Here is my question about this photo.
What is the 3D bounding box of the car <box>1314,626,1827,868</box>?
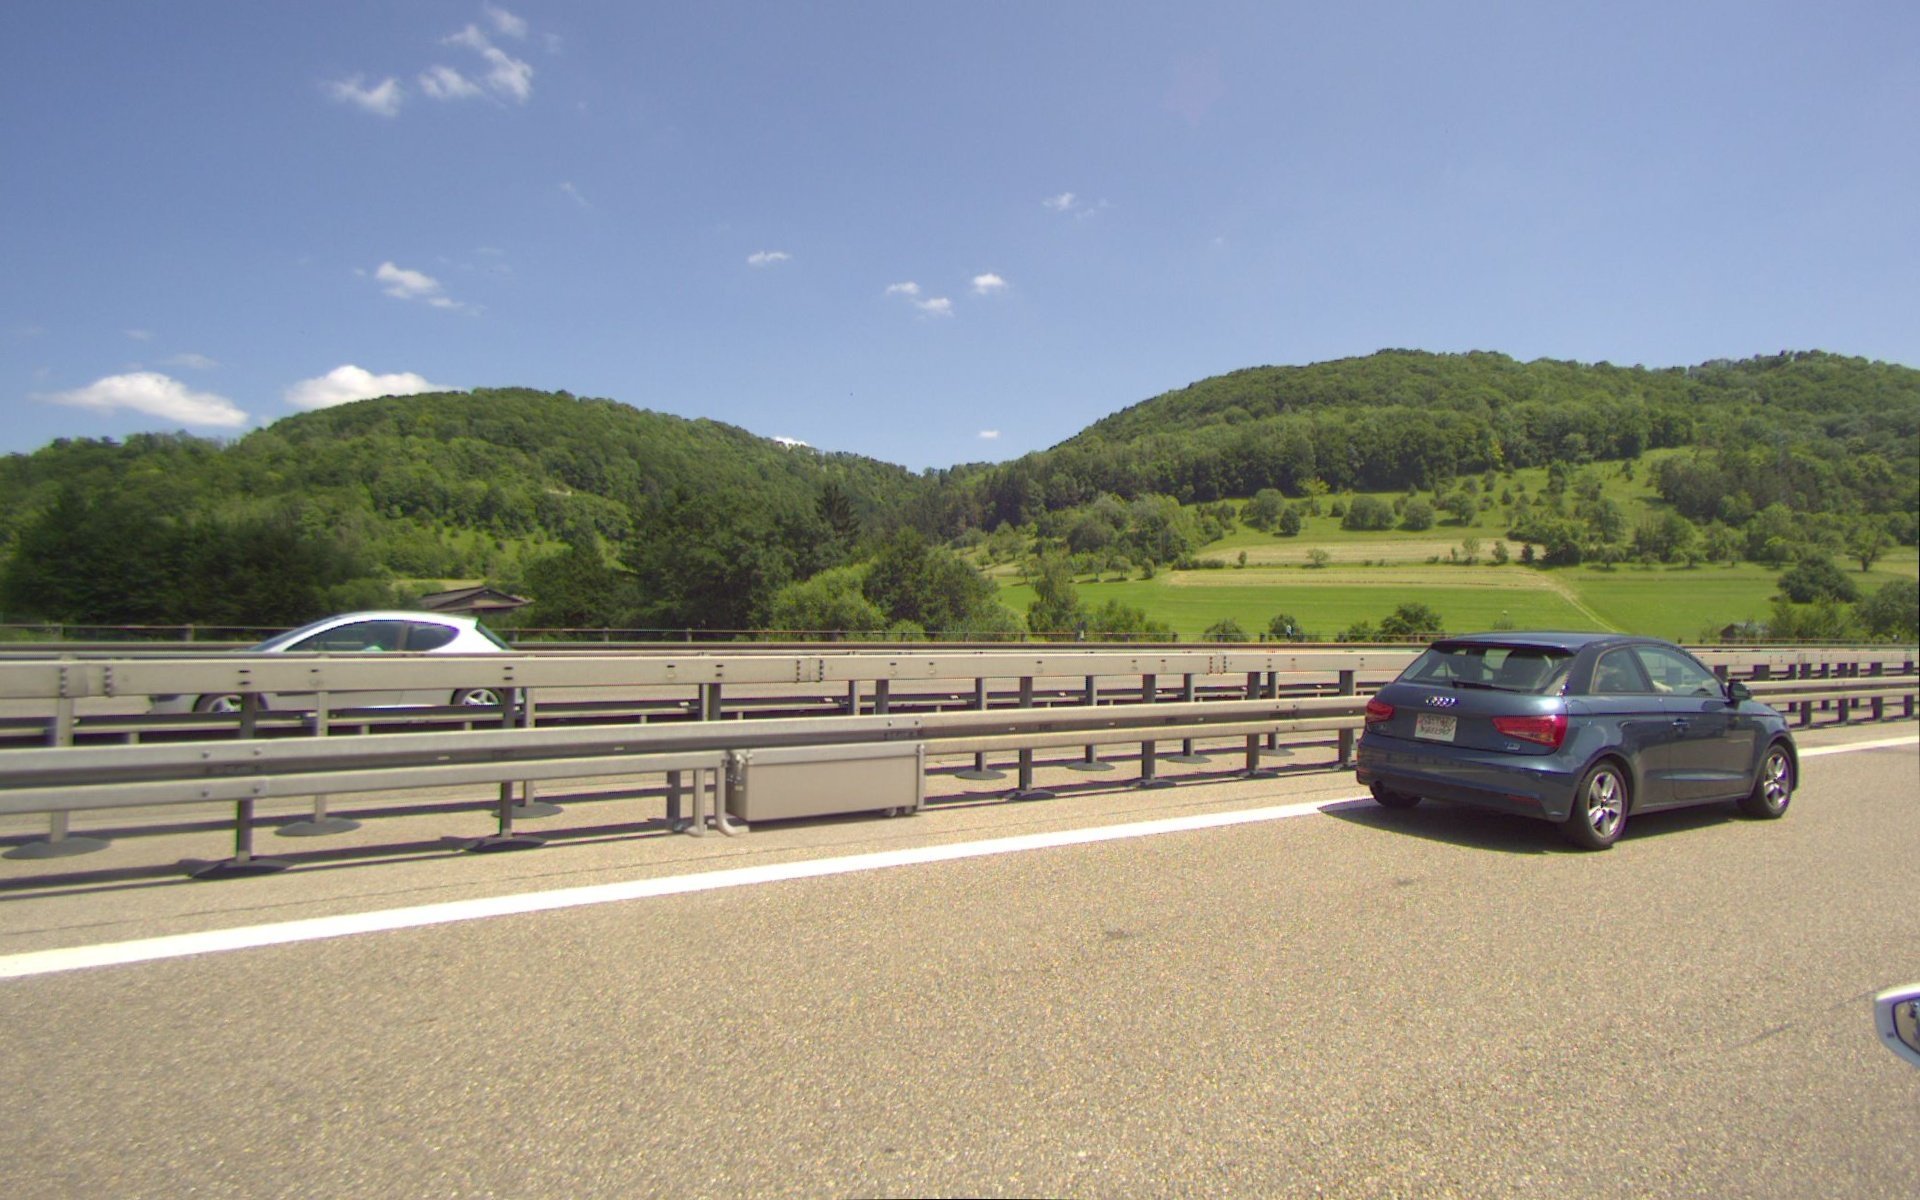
[{"bbox_3d":[4.739,0.939,7.686,3.953,1.407,1.681,2,-1,-30],"label":"car"}]

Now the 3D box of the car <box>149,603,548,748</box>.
[{"bbox_3d":[-7.433,0.861,12.602,3.953,1.517,1.984,2,0,-30],"label":"car"}]
